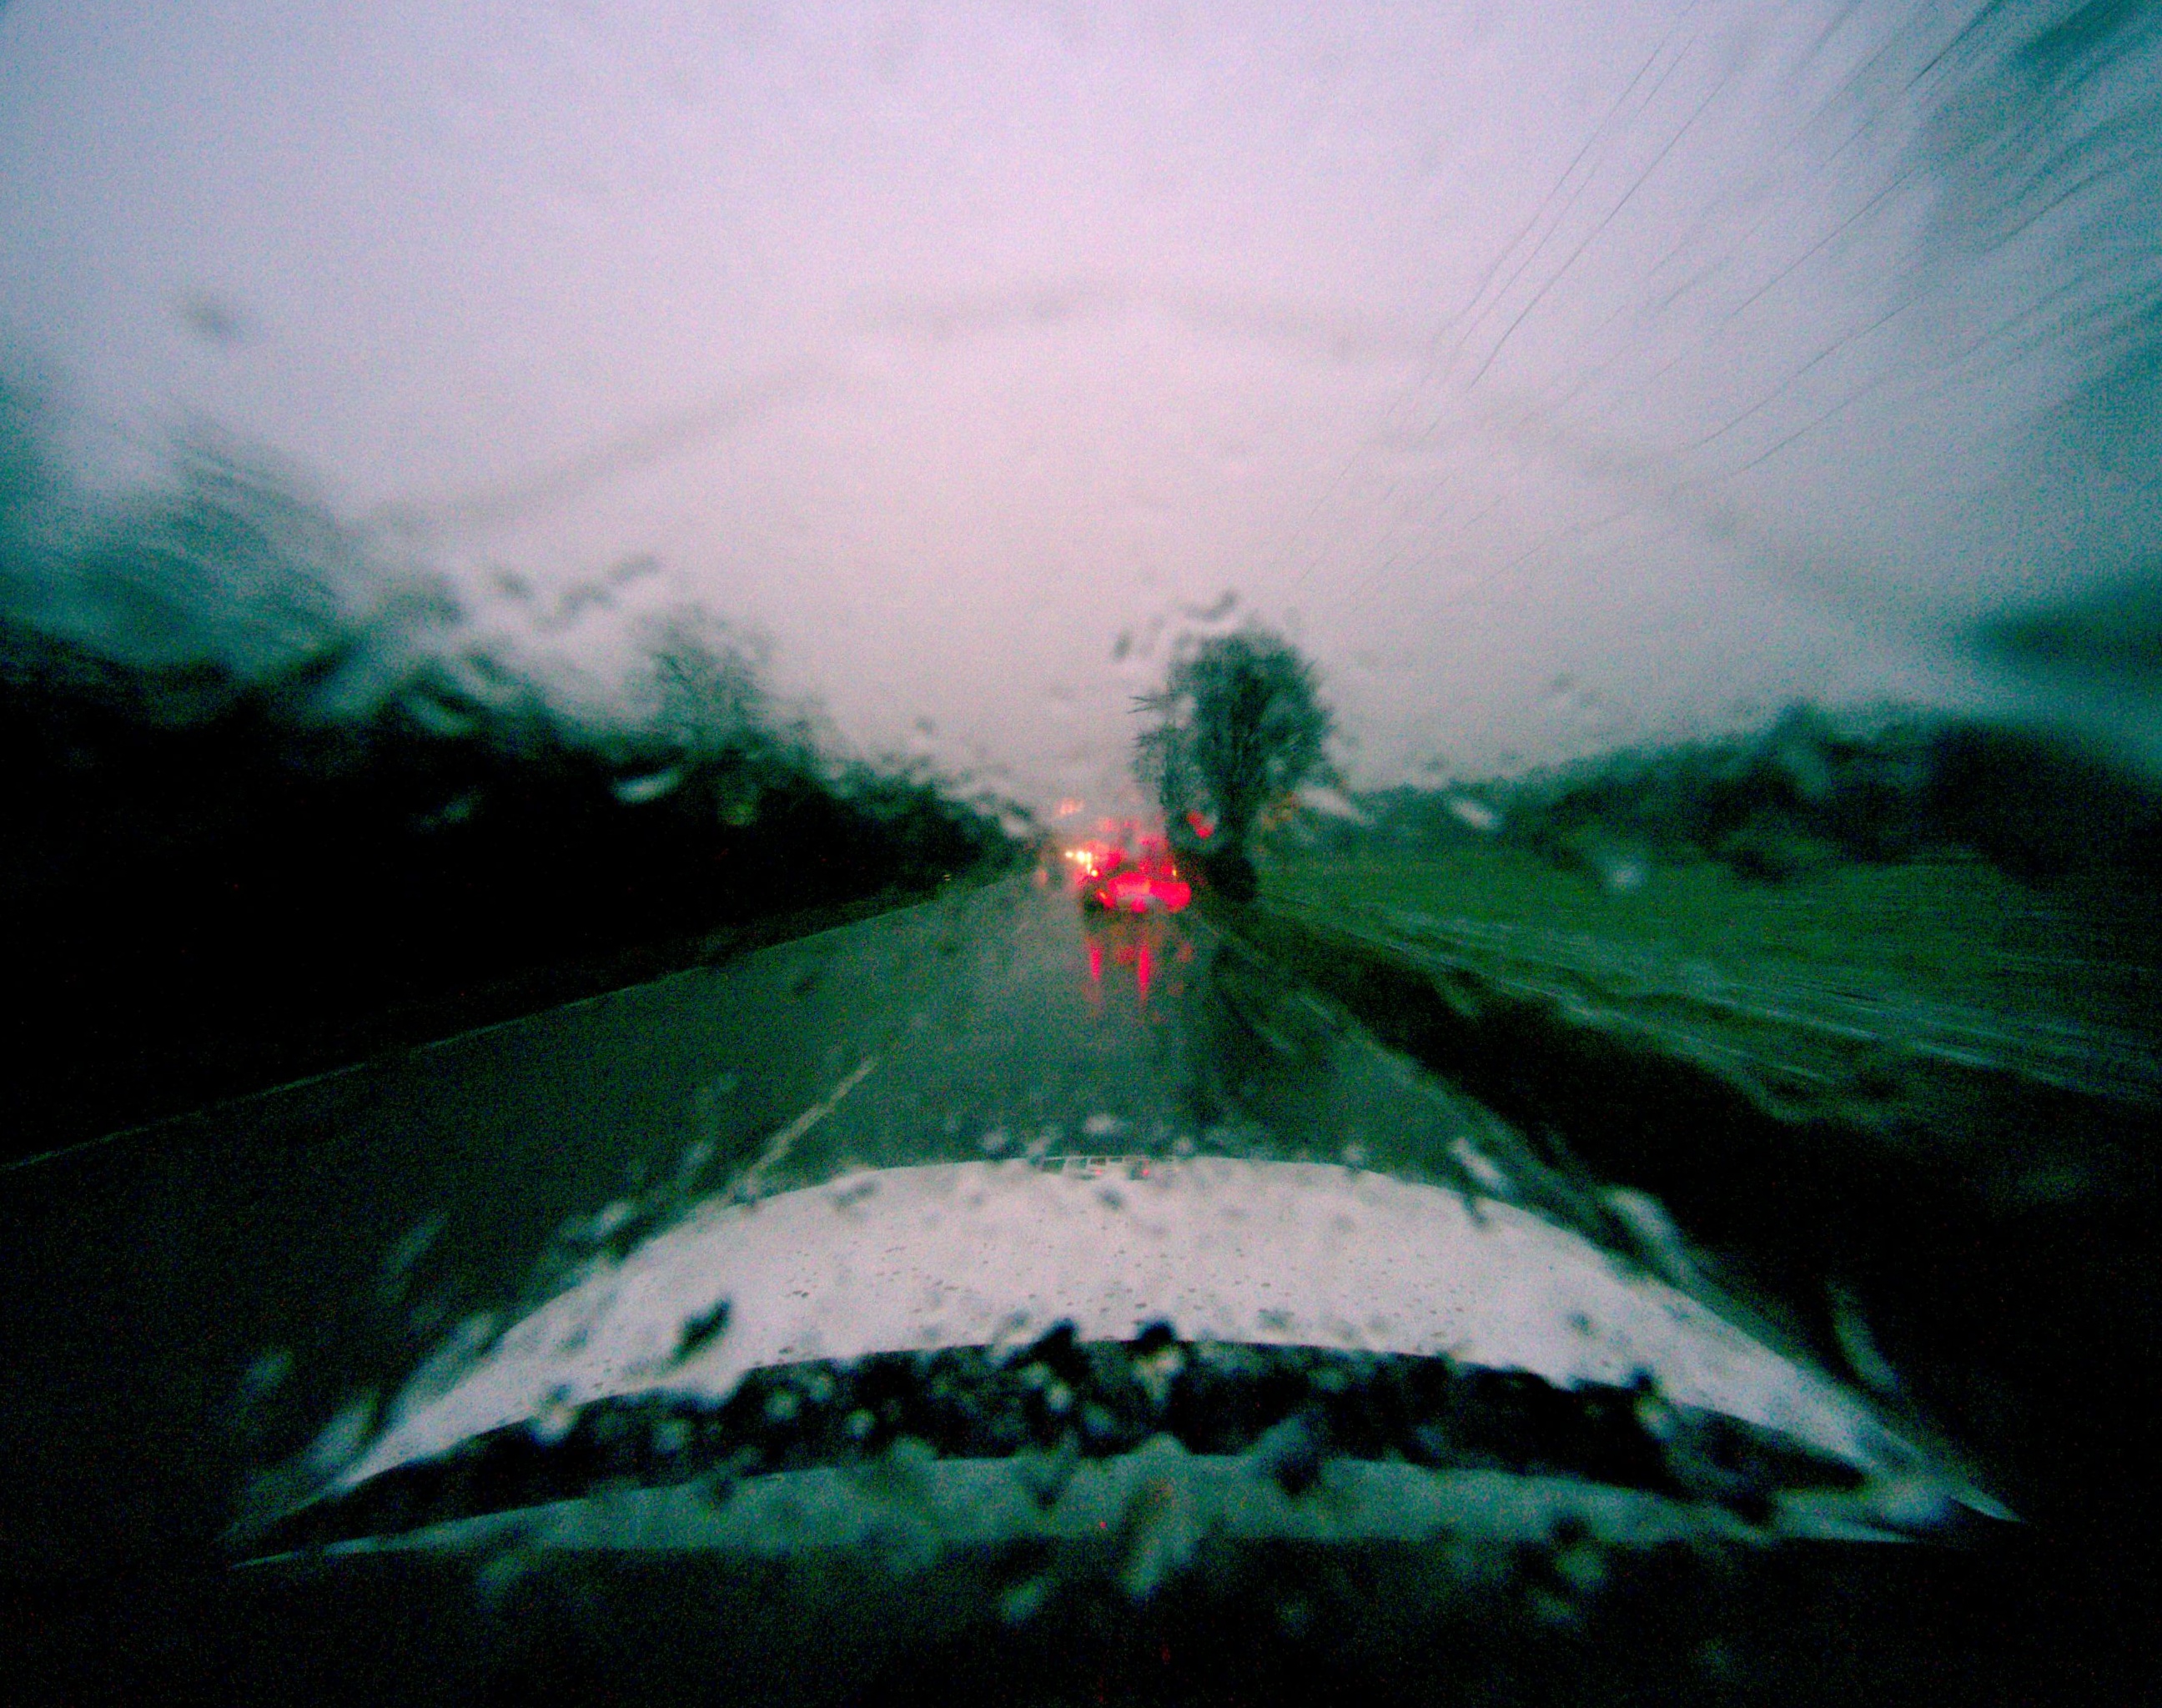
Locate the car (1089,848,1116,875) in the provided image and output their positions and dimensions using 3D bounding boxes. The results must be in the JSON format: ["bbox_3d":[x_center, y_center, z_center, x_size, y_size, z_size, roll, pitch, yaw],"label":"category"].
[{"bbox_3d":[1.710,0.592,64.613,1.986,2.013,4.002,-2,0,2],"label":"car"}]

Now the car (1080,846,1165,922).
[{"bbox_3d":[1.047,0.722,21.368,1.986,1.752,4.001,-1,0,1],"label":"car"}]

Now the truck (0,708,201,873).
[{"bbox_3d":[-25.425,-1.395,19.040,2.981,3.632,6.068,-1,0,1],"label":"truck"}]
